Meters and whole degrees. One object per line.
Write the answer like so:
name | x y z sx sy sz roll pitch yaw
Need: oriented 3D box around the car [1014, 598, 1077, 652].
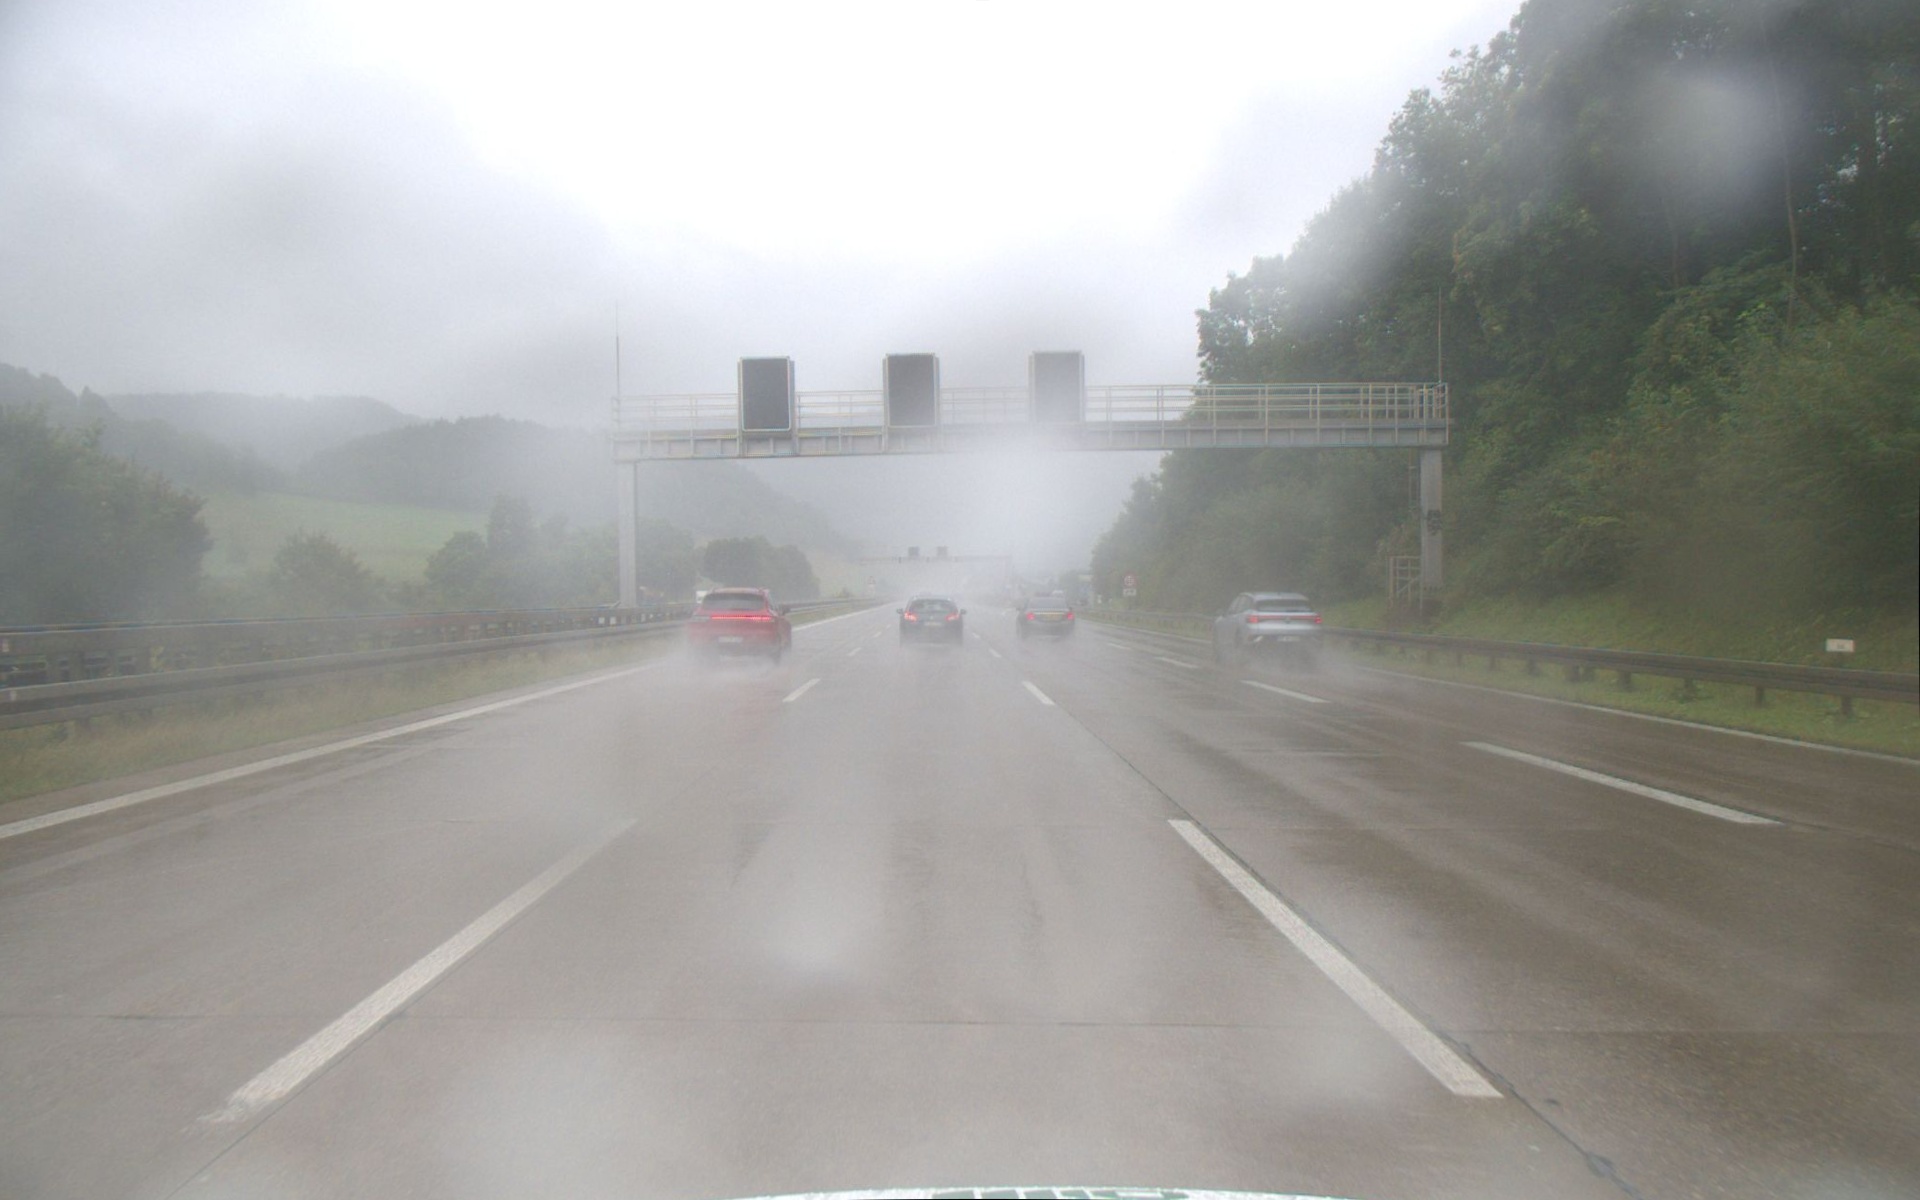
car | 2.938 0.848 57.495 1.931 1.791 3.999 0 0 -1

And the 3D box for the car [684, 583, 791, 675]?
car | -4.669 0.572 35.138 1.846 1.847 3.998 0 0 -2

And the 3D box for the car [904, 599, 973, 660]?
car | -0.614 0.797 46.574 1.822 1.617 3.999 1 0 -1

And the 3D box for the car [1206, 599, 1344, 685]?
car | 7.037 0.890 37.541 1.953 1.781 5.661 1 0 -1
